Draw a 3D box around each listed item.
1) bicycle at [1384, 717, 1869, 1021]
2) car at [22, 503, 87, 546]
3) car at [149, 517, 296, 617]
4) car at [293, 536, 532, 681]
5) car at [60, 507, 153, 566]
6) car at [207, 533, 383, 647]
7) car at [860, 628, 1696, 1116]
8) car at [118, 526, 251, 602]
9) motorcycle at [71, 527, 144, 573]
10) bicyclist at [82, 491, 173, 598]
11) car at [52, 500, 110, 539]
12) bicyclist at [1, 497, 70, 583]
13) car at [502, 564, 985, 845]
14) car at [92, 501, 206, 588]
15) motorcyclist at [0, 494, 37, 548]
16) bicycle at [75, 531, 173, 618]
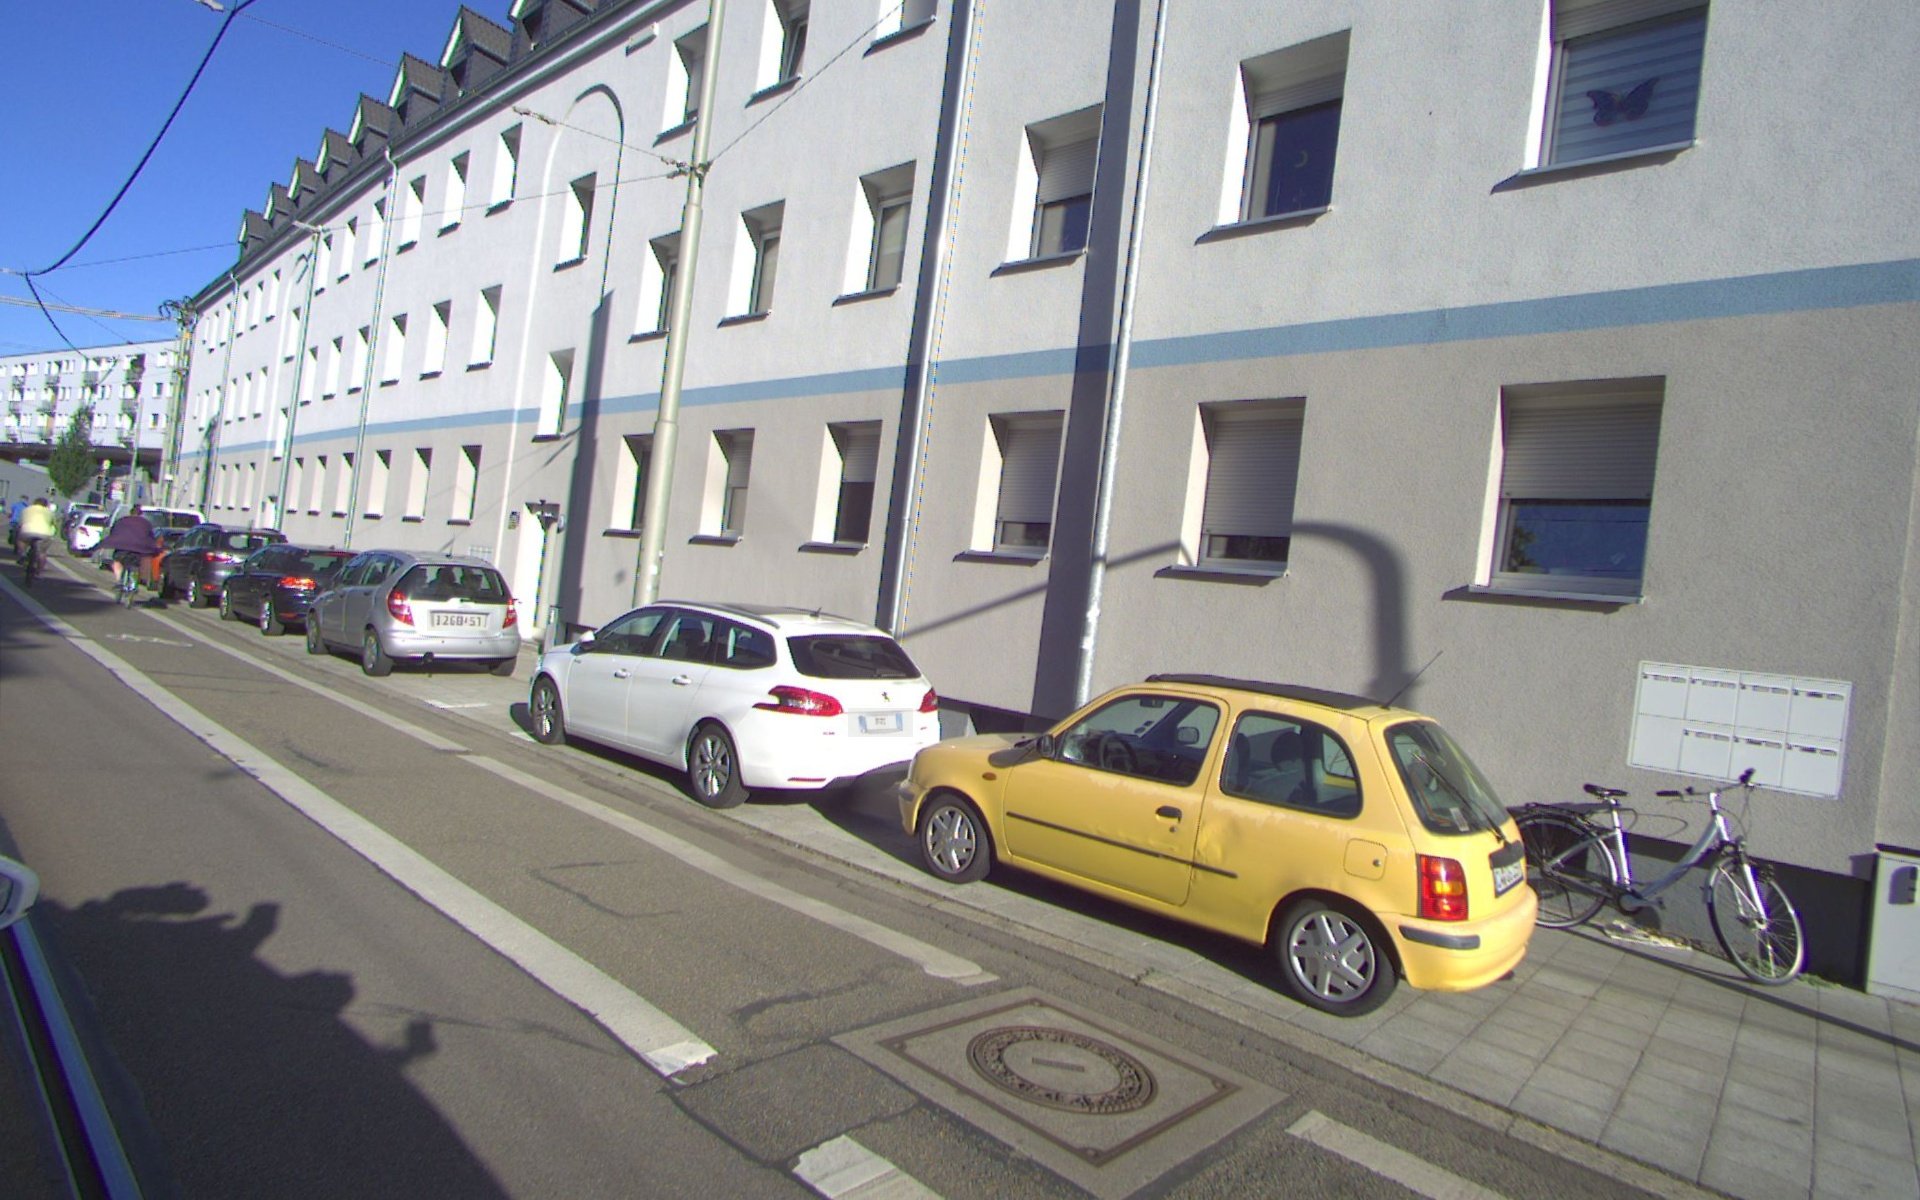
[{"bbox_3d":[4.104,1.533,6.365,2.294,1.211,1.095,6,-1,41],"label":"bicycle"},{"bbox_3d":[-42.920,-3.577,47.651,3.911,1.665,1.841,6,-1,43],"label":"car"},{"bbox_3d":[-15.241,-0.710,20.719,3.851,1.691,1.657,6,1,43],"label":"car"},{"bbox_3d":[-7.684,0.067,13.959,3.852,1.592,1.749,6,2,43],"label":"car"},{"bbox_3d":[-30.002,-2.257,35.323,4.487,1.665,1.841,6,-1,43],"label":"car"},{"bbox_3d":[-11.438,-0.217,17.193,3.954,1.557,1.587,6,1,44],"label":"car"},{"bbox_3d":[1.462,1.116,5.683,4.143,1.448,1.511,6,-1,41],"label":"car"},{"bbox_3d":[-18.536,-0.852,23.996,3.729,1.500,1.793,3,-4,43],"label":"car"},{"bbox_3d":[-26.226,-1.548,30.959,1.738,1.158,0.492,7,0,2],"label":"motorcycle"},{"bbox_3d":[-14.495,-0.964,17.516,0.956,1.696,0.933,7,-1,41],"label":"bicyclist"},{"bbox_3d":[-48.962,-4.491,56.006,4.487,1.777,1.841,6,-1,43],"label":"car"},{"bbox_3d":[-17.357,-1.129,18.891,1.006,1.479,0.727,7,-1,41],"label":"bicyclist"},{"bbox_3d":[-2.079,0.700,8.696,4.447,1.590,1.676,6,0,42],"label":"car"},{"bbox_3d":[-22.186,-1.557,27.461,4.099,1.995,1.782,6,0,43],"label":"car"},{"bbox_3d":[-27.512,-2.300,29.293,1.006,1.422,0.727,7,-1,41],"label":"motorcyclist"},{"bbox_3d":[-14.692,-0.472,17.649,2.428,1.250,0.820,6,-2,41],"label":"bicycle"}]
